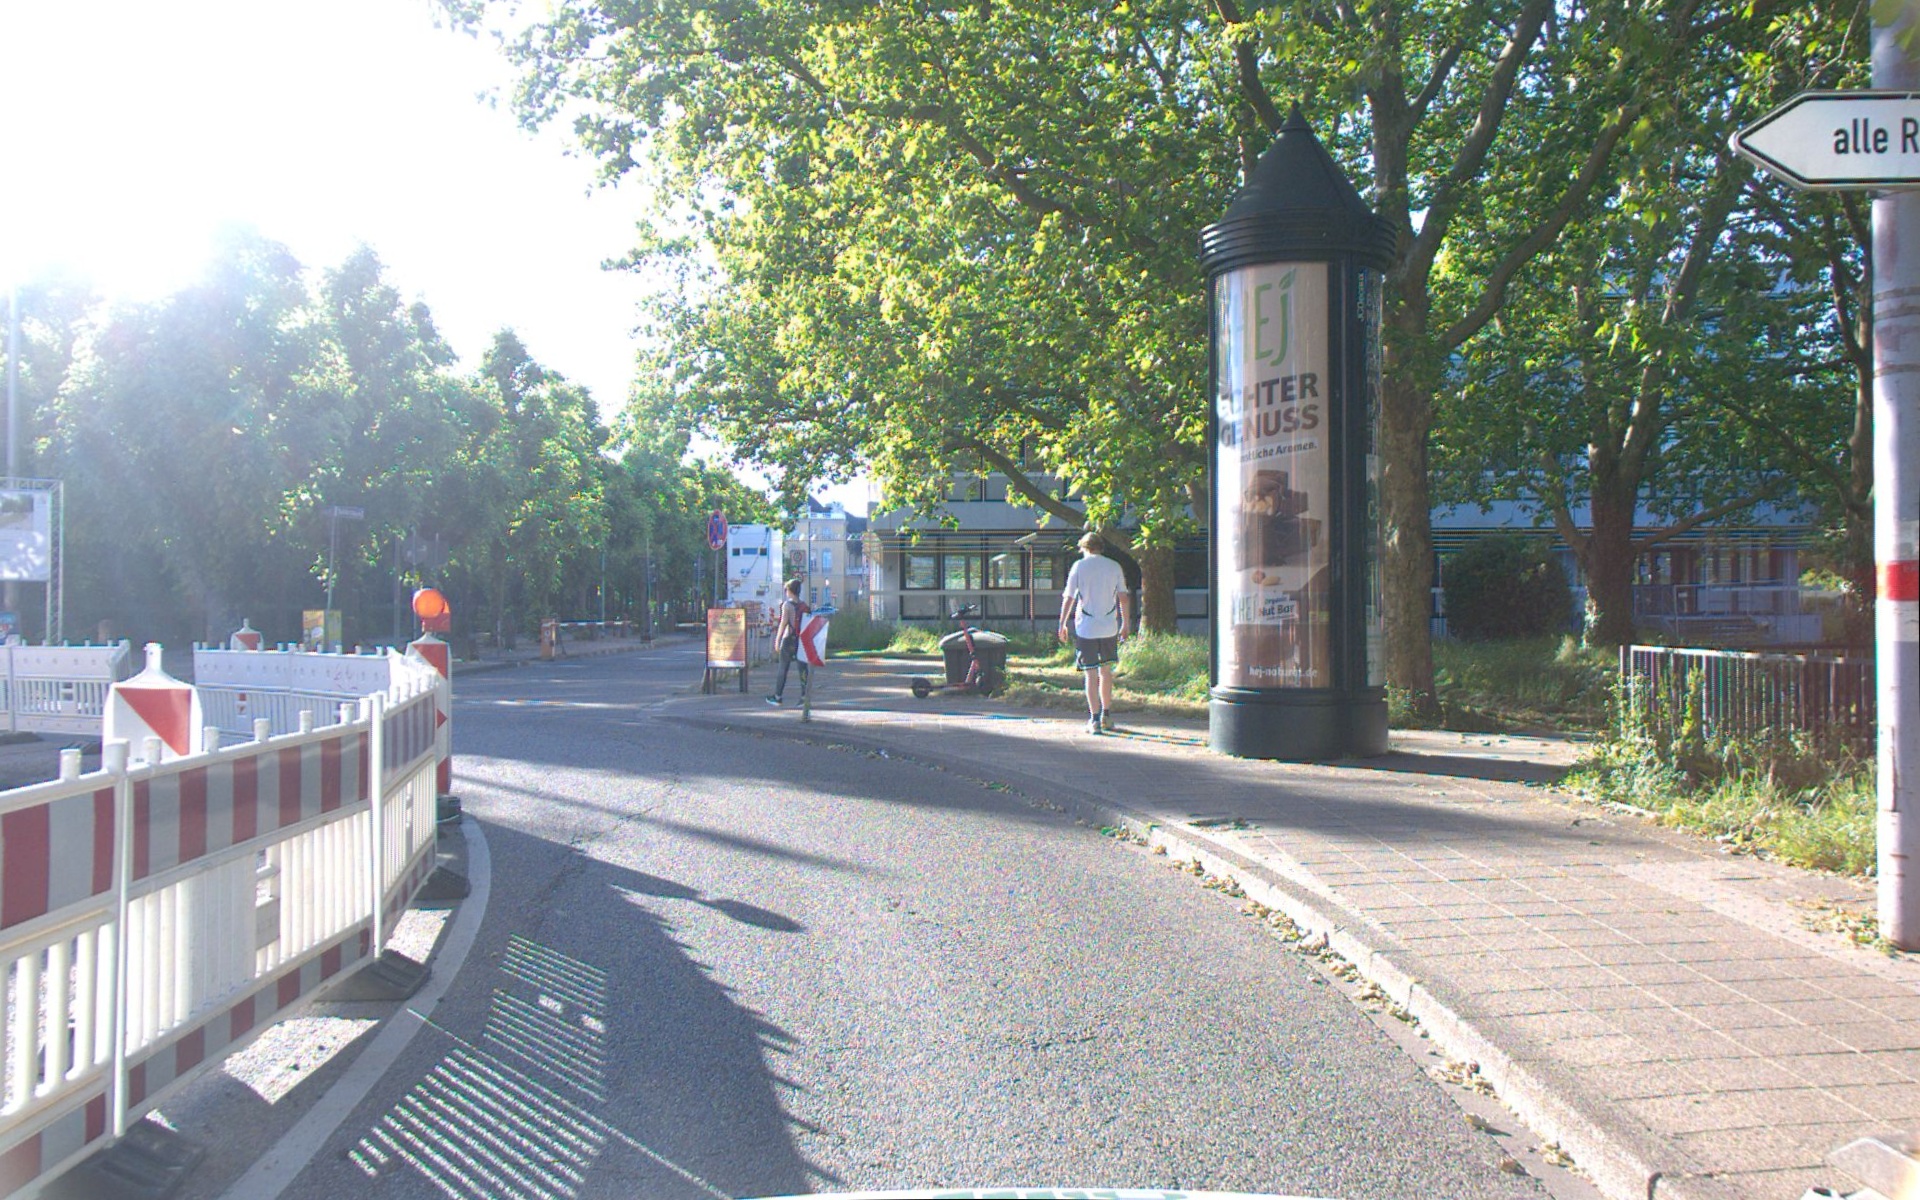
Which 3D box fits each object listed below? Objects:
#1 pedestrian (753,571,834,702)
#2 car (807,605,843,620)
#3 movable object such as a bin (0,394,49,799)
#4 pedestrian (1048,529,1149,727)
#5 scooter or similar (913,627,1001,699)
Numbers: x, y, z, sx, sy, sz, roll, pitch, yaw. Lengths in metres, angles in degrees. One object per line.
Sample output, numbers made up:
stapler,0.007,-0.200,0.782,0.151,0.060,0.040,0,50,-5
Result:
pedestrian,-2.163,0.469,21.393,0.701,1.652,0.928,0,-1,-33
car,-17.027,1.608,208.777,4.466,1.822,1.999,1,0,-3
movable object such as a bin,-10.084,0.029,13.876,5.827,3.084,2.551,-1,0,43
pedestrian,1.336,0.269,16.128,0.730,1.844,1.132,1,0,-7
scooter or similar,-0.043,0.852,22.560,1.126,0.930,0.418,-2,-1,-9
